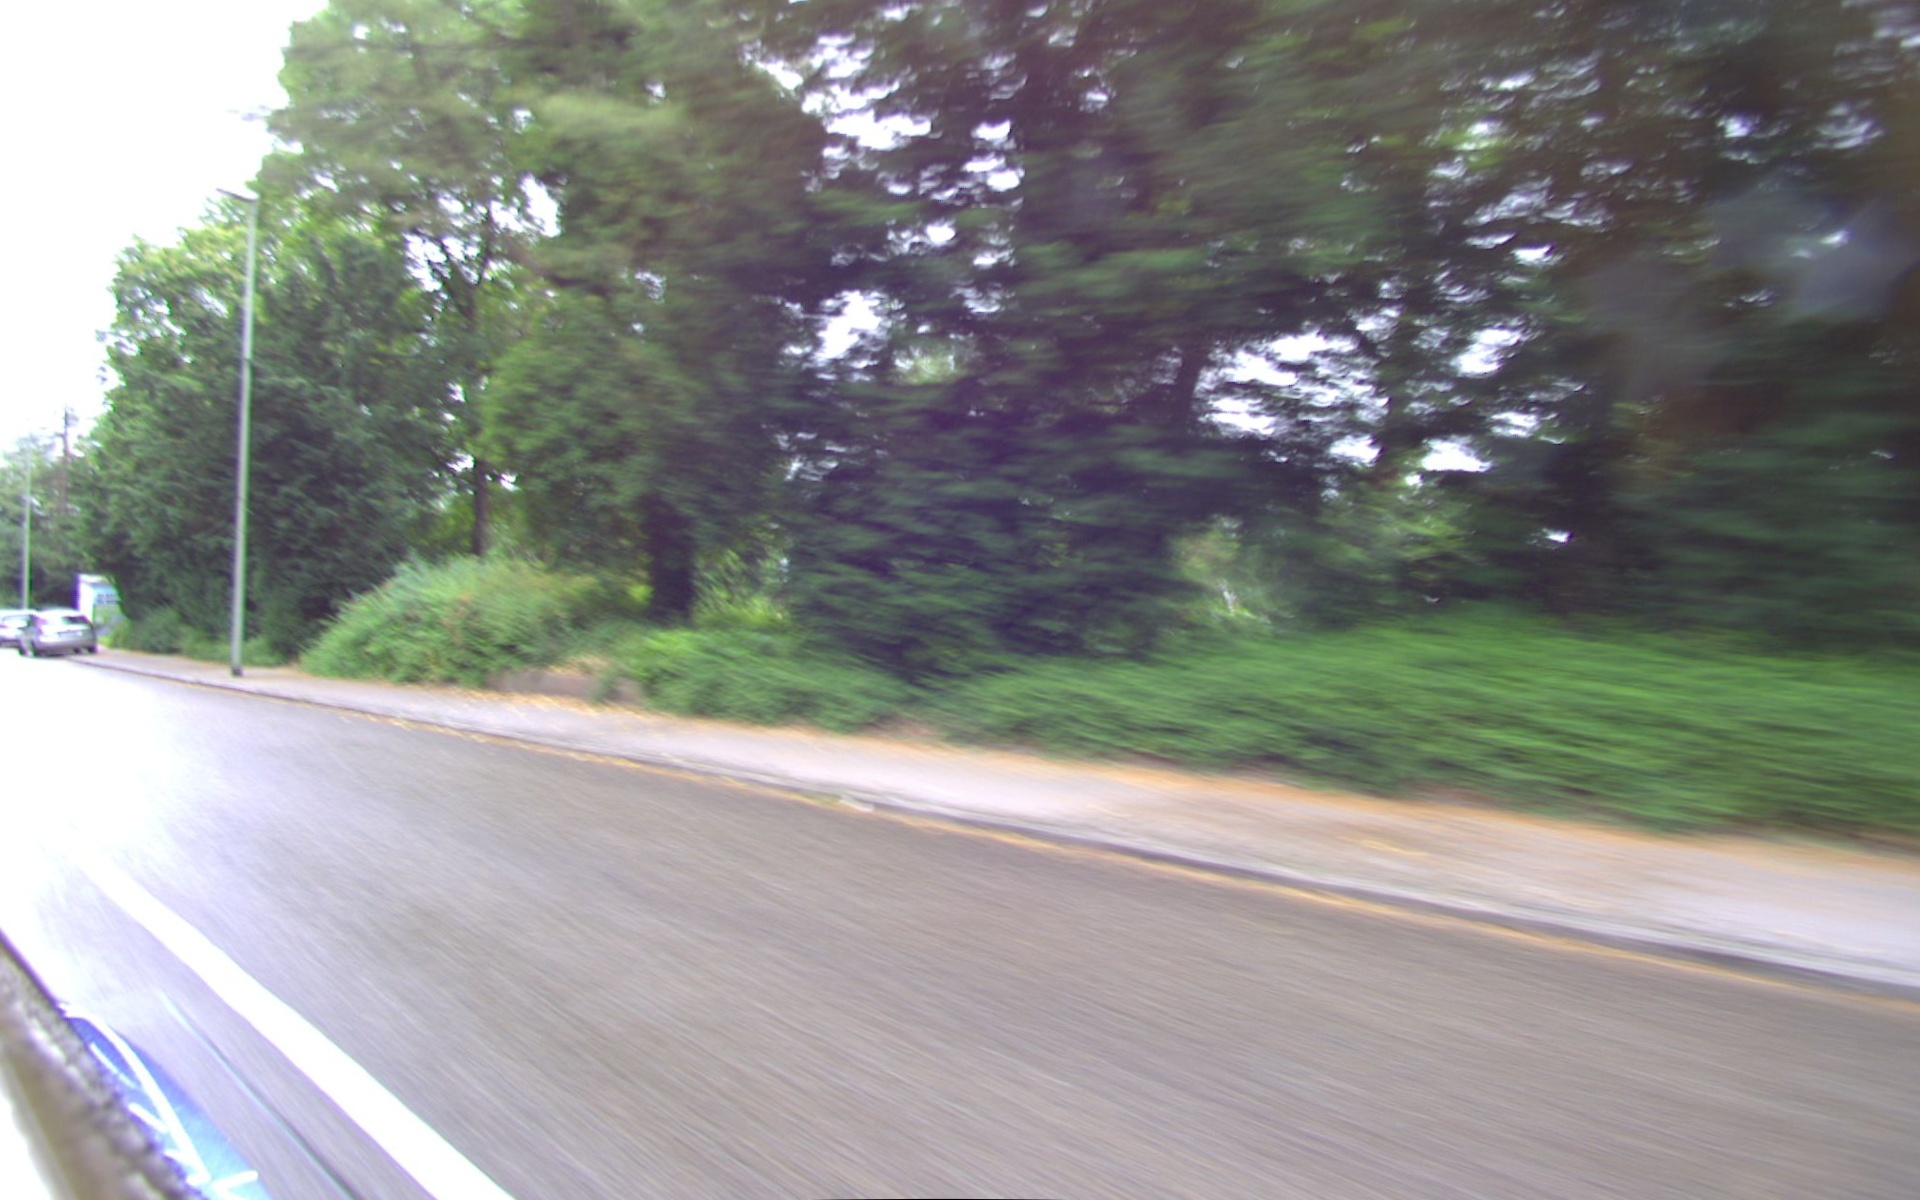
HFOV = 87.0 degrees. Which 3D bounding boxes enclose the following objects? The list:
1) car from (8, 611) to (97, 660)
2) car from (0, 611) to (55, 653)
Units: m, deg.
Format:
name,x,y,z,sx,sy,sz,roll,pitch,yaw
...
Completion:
name,x,y,z,sx,sy,sz,roll,pitch,yaw
car,-30.792,1.167,34.305,3.923,1.510,1.610,-1,0,39
car,-39.291,1.317,42.102,4.237,1.624,1.866,-1,-4,42
